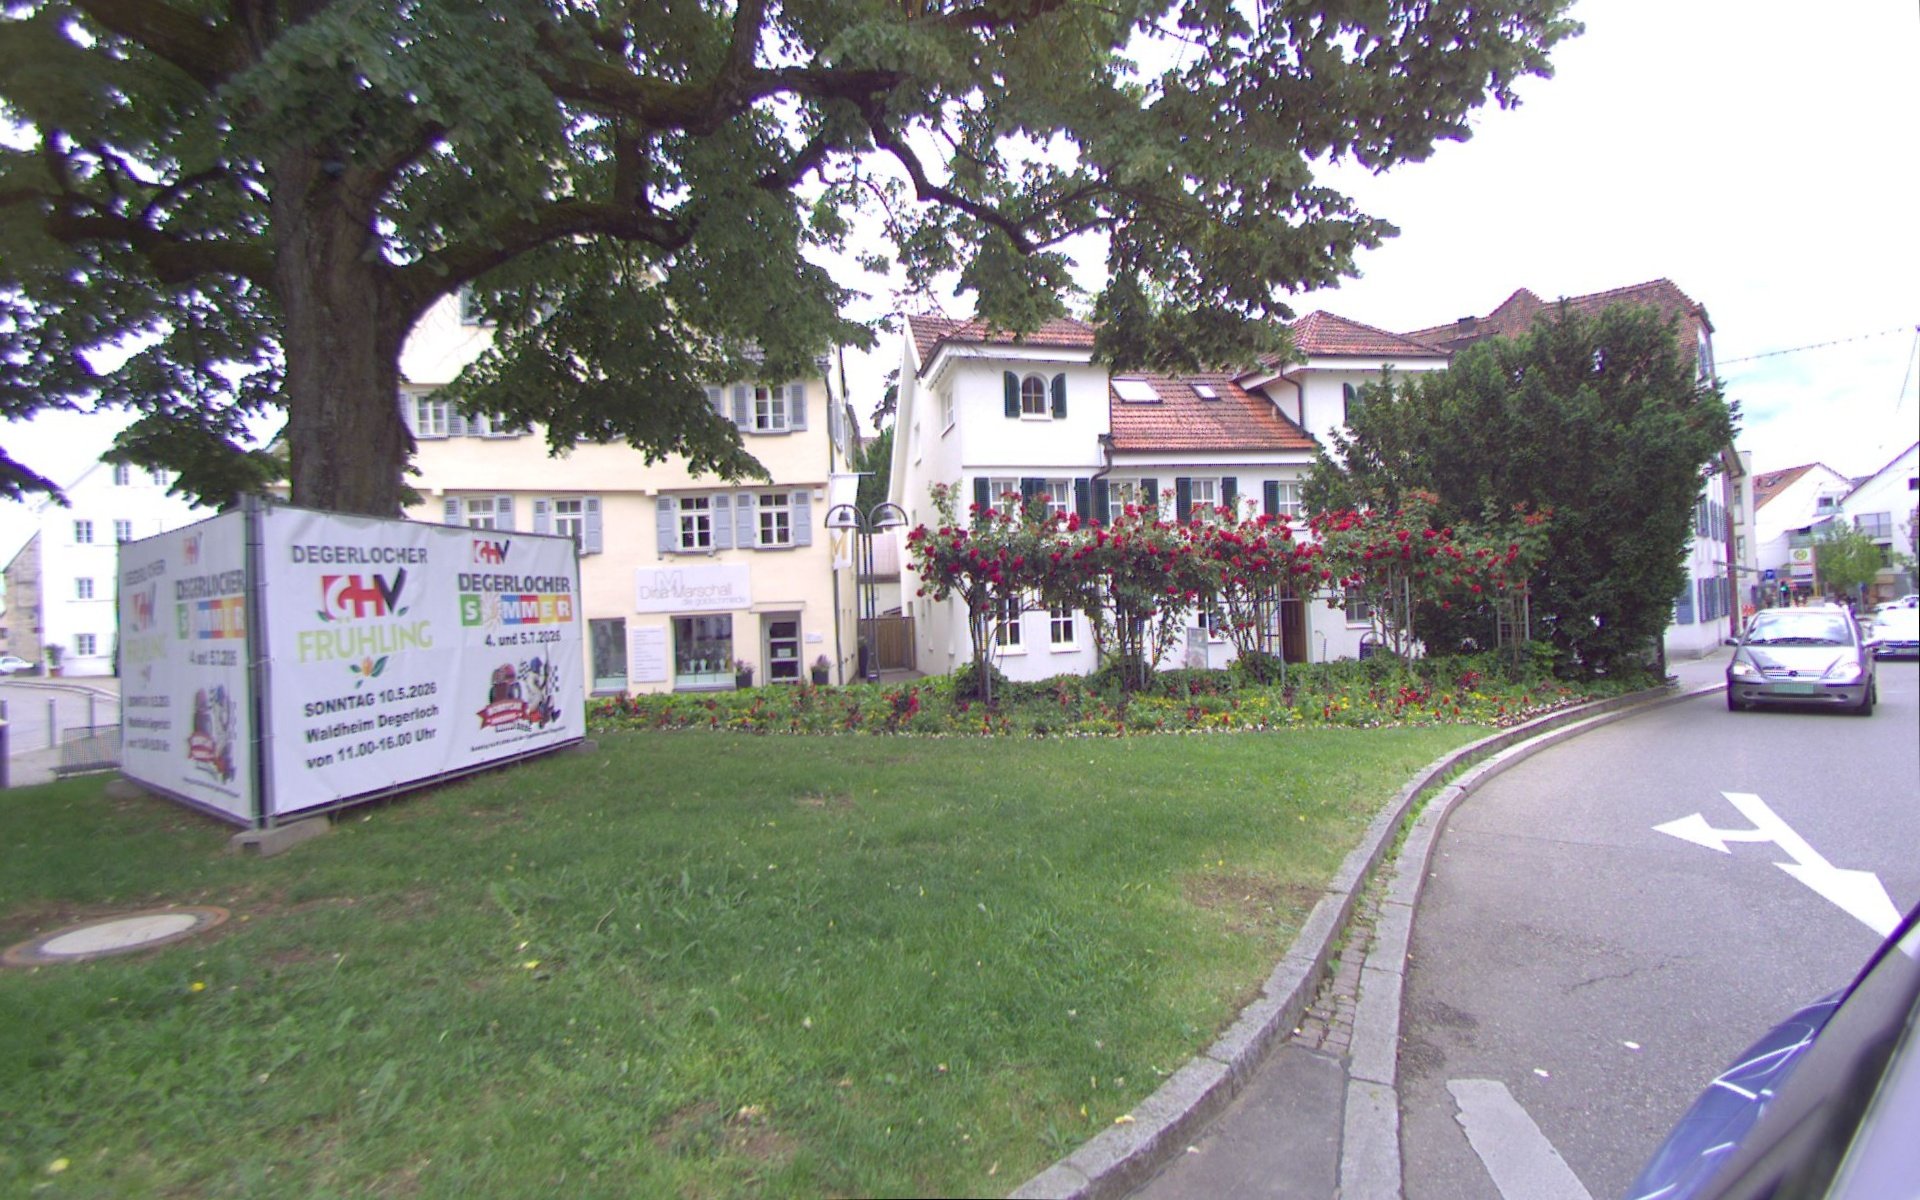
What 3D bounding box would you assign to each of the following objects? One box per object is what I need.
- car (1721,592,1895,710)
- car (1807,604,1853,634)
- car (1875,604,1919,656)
[{"bbox_3d":[13.675,0.730,16.244,1.889,1.648,3.938,-2,-1,43],"label":"car"},{"bbox_3d":[55.739,1.210,64.870,1.991,1.648,3.944,-5,-2,39],"label":"car"},{"bbox_3d":[27.919,0.826,29.389,1.750,1.372,3.936,-4,-3,45],"label":"car"}]
